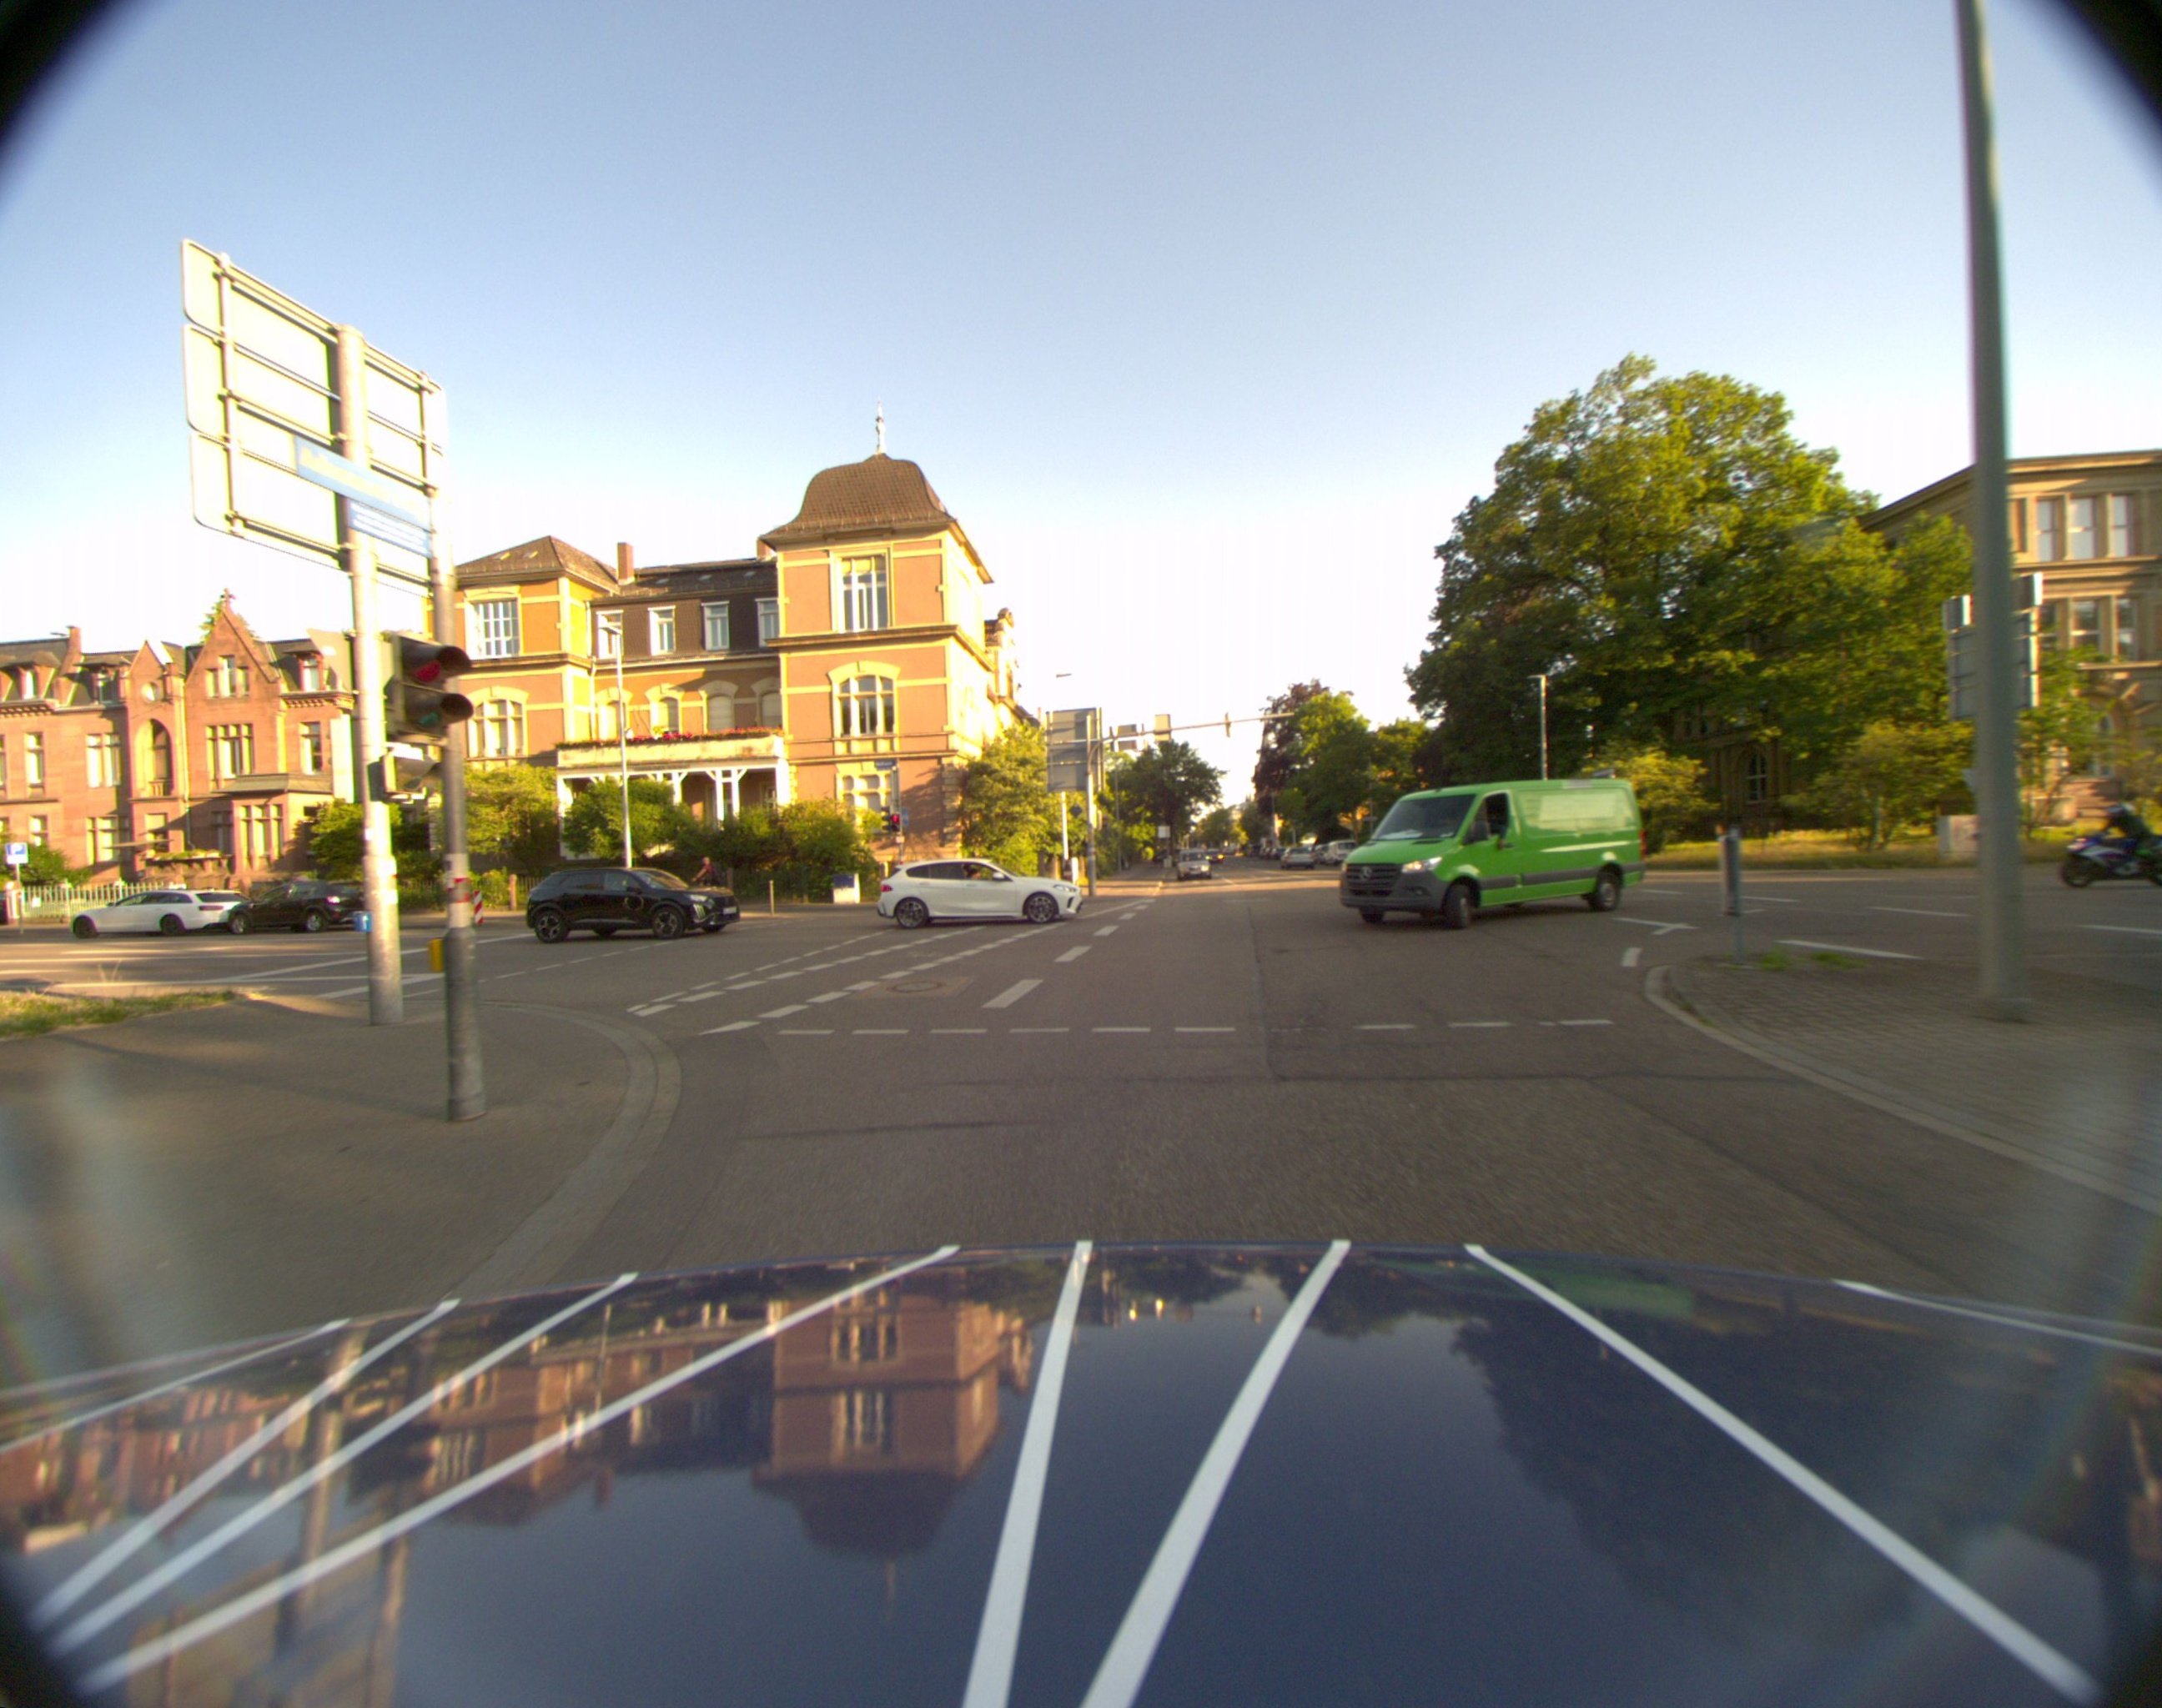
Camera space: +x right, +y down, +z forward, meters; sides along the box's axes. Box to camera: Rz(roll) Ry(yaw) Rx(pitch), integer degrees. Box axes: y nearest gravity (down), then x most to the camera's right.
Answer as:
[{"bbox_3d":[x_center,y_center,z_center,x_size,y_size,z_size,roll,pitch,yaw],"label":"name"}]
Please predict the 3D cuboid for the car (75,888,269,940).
[{"bbox_3d":[-28.392,1.872,23.800,4.427,1.434,1.611,-2,-2,4],"label":"car"}]

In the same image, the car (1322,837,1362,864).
[{"bbox_3d":[19.046,-0.285,55.576,1.860,1.835,4.122,-2,1,6],"label":"car"}]

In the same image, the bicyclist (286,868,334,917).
[{"bbox_3d":[-26.539,1.306,26.155,0.913,1.624,0.653,-2,3,7],"label":"bicyclist"}]

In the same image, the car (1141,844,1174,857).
[{"bbox_3d":[9.538,-0.399,95.308,1.811,1.500,3.838,-4,3,-43],"label":"car"}]

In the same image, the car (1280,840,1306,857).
[{"bbox_3d":[21.431,-0.541,76.883,1.935,1.633,4.002,-2,0,8],"label":"car"}]

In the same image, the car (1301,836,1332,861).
[{"bbox_3d":[20.514,-0.481,66.366,1.935,2.002,4.002,-2,0,8],"label":"car"}]

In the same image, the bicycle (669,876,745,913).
[{"bbox_3d":[-12.295,1.330,25.013,2.166,1.117,0.689,-2,2,7],"label":"bicycle"}]

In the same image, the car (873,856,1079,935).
[{"bbox_3d":[-2.202,0.852,16.577,4.187,1.457,1.757,-2,1,-3],"label":"car"}]

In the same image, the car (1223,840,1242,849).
[{"bbox_3d":[30.601,-1.873,153.360,3.753,1.608,1.823,-2,1,9],"label":"car"}]

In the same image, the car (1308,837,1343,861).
[{"bbox_3d":[19.787,-0.386,61.670,1.860,1.835,4.189,-2,1,7],"label":"car"}]

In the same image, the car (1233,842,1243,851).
[{"bbox_3d":[30.740,-1.459,148.417,1.675,1.718,3.639,-2,0,9],"label":"car"}]

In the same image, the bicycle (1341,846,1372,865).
[{"bbox_3d":[18.565,0.097,51.250,1.874,1.150,0.753,-2,3,11],"label":"bicycle"}]

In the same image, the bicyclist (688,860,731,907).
[{"bbox_3d":[-12.214,0.961,24.995,0.954,1.504,0.685,-2,2,7],"label":"bicyclist"}]

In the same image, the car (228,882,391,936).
[{"bbox_3d":[-23.759,1.678,23.451,3.717,1.525,1.634,-2,-2,8],"label":"car"}]

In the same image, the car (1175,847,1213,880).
[{"bbox_3d":[5.714,0.445,38.638,1.689,1.501,3.702,-4,0,8],"label":"car"}]

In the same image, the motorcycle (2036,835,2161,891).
[{"bbox_3d":[19.935,0.164,14.660,1.876,0.995,0.757,-2,1,7],"label":"motorcycle"}]

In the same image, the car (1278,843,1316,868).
[{"bbox_3d":[13.534,0.062,47.829,1.733,1.400,4.142,-2,0,8],"label":"car"}]

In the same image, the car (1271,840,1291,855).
[{"bbox_3d":[23.640,-0.793,90.028,1.797,1.718,4.001,-2,2,8],"label":"car"}]

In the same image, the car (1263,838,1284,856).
[{"bbox_3d":[24.183,-0.921,95.514,1.997,2.002,4.001,-2,2,7],"label":"car"}]

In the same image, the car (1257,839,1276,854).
[{"bbox_3d":[24.616,-1.043,101.026,1.997,1.806,4.001,-2,2,8],"label":"car"}]

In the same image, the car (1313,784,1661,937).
[{"bbox_3d":[7.164,0.002,13.310,5.947,2.264,2.041,-2,1,-23],"label":"car"}]

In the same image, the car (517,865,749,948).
[{"bbox_3d":[-9.504,1.085,16.285,3.995,1.527,1.684,-2,1,6],"label":"car"}]

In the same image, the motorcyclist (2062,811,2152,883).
[{"bbox_3d":[19.796,-0.131,14.674,0.703,1.350,0.752,-2,1,7],"label":"motorcyclist"}]

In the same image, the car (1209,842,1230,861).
[{"bbox_3d":[13.905,-0.279,76.591,1.997,1.783,4.002,-2,1,10],"label":"car"}]
